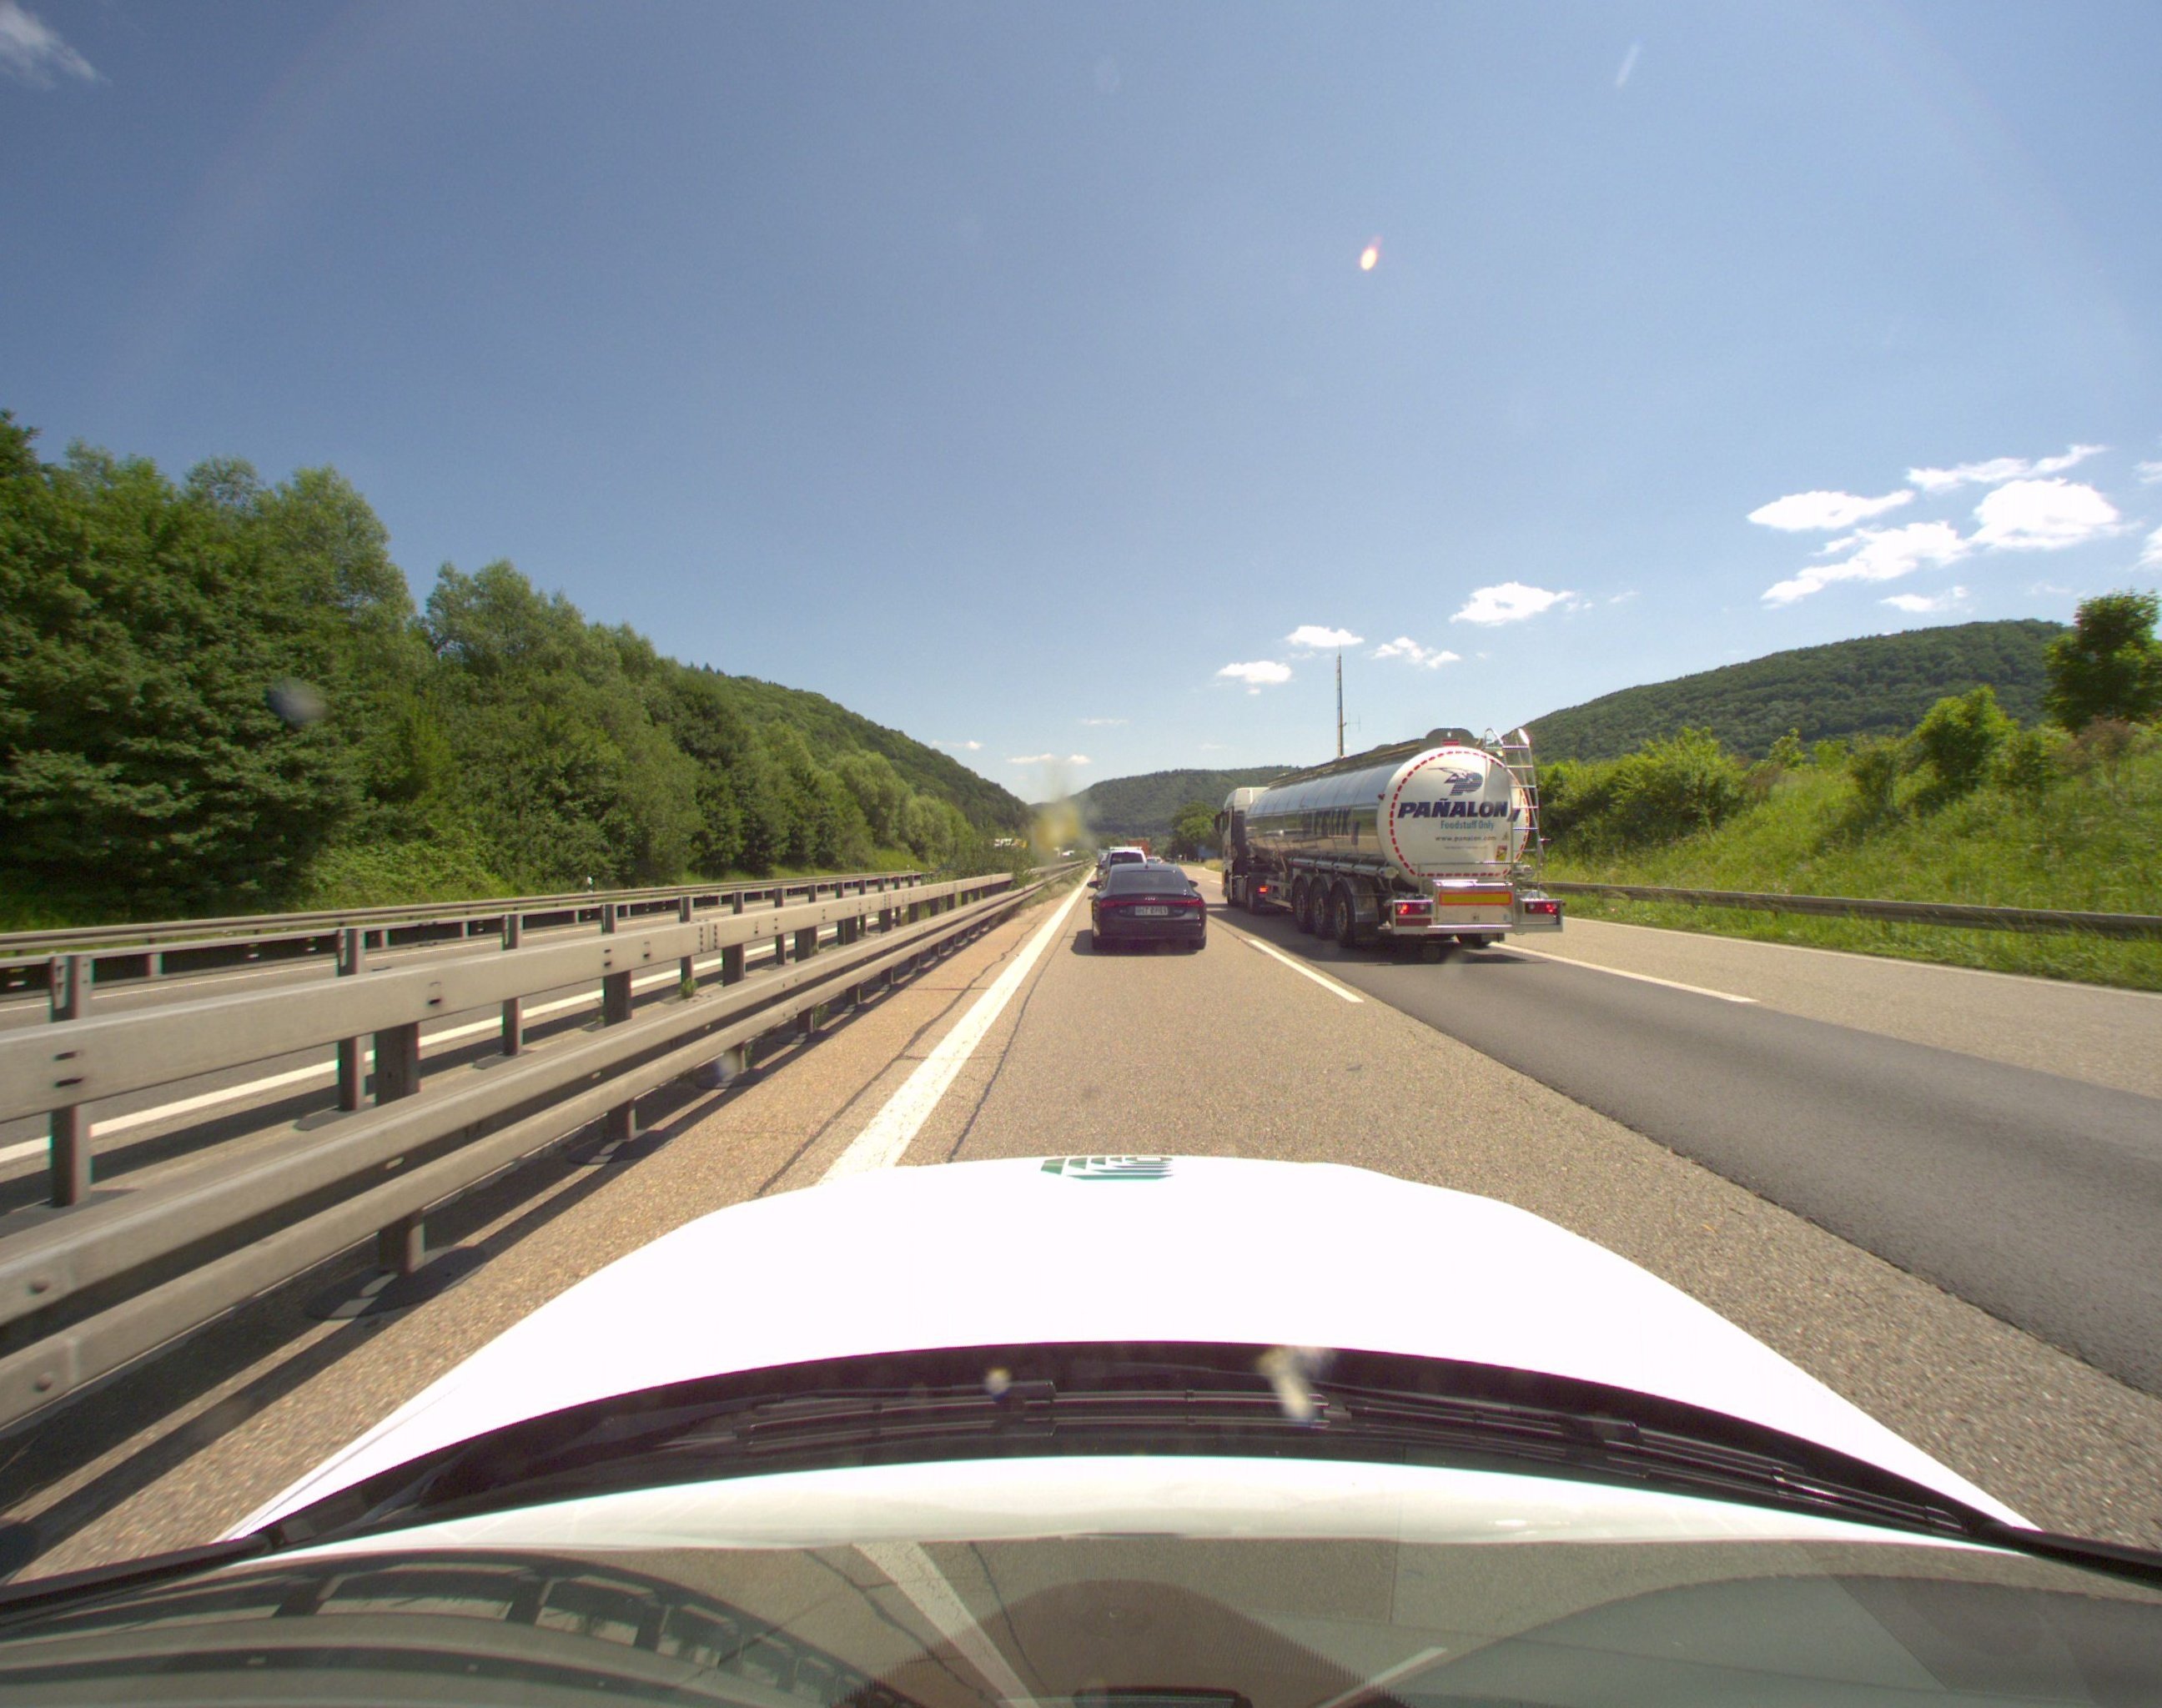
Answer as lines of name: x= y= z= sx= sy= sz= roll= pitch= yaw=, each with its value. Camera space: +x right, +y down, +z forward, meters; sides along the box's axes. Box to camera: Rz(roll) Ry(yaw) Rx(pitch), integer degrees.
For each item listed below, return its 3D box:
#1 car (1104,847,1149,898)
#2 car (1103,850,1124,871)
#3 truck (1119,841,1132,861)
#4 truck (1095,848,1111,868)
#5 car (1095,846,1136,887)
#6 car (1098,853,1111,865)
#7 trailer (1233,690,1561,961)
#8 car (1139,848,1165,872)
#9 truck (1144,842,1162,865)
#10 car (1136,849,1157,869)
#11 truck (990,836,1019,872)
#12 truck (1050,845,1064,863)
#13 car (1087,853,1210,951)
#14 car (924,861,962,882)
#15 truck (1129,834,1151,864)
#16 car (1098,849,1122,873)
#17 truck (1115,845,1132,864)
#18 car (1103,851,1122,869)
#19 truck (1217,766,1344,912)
car: x=1.676 y=0.664 z=31.036 sx=1.570 sy=1.833 sz=4.001 roll=-1 pitch=0 yaw=2
car: x=3.295 y=0.650 z=82.257 sx=1.986 sy=2.013 sz=4.001 roll=-1 pitch=0 yaw=1
truck: x=8.091 y=-0.476 z=148.730 sx=1.986 sy=3.447 sz=11.816 roll=-1 pitch=0 yaw=2
truck: x=4.114 y=0.710 z=148.444 sx=2.618 sy=3.440 sz=11.426 roll=-1 pitch=0 yaw=2
car: x=1.755 y=0.624 z=42.193 sx=1.986 sy=2.014 sz=4.001 roll=-1 pitch=0 yaw=2
car: x=3.315 y=0.657 z=116.252 sx=1.705 sy=1.618 sz=4.003 roll=-1 pitch=0 yaw=3
trailer: x=5.476 y=-0.380 z=17.213 sx=2.529 sy=3.735 sz=11.893 roll=-1 pitch=0 yaw=1
car: x=6.069 y=0.501 z=69.910 sx=1.986 sy=2.013 sz=4.002 roll=-1 pitch=0 yaw=2
truck: x=13.462 y=-0.101 z=153.362 sx=2.806 sy=4.003 sz=14.964 roll=-1 pitch=0 yaw=3
car: x=6.877 y=0.502 z=86.050 sx=1.985 sy=2.002 sz=4.003 roll=-1 pitch=0 yaw=3
truck: x=-9.155 y=0.042 z=97.858 sx=2.538 sy=4.090 sz=5.853 roll=-1 pitch=0 yaw=2
truck: x=-5.525 y=0.083 z=188.838 sx=2.718 sy=4.001 sz=5.372 roll=-2 pitch=0 yaw=2
car: x=1.043 y=0.738 z=14.502 sx=1.843 sy=1.488 sz=4.082 roll=-1 pitch=0 yaw=0
car: x=-10.506 y=1.295 z=62.290 sx=1.862 sy=1.420 sz=4.435 roll=-2 pitch=0 yaw=2
truck: x=8.428 y=-0.662 z=118.364 sx=2.806 sy=4.003 sz=14.964 roll=-1 pitch=0 yaw=3
car: x=2.574 y=0.639 z=72.844 sx=1.986 sy=2.013 sz=4.001 roll=-1 pitch=0 yaw=1
truck: x=10.799 y=0.164 z=207.509 sx=3.780 sy=4.414 sz=14.957 roll=-2 pitch=0 yaw=1
car: x=3.053 y=0.562 z=78.908 sx=1.705 sy=1.618 sz=4.003 roll=-1 pitch=0 yaw=3
truck: x=5.601 y=-0.393 z=23.722 sx=2.502 sy=3.758 sz=5.246 roll=-1 pitch=0 yaw=1
